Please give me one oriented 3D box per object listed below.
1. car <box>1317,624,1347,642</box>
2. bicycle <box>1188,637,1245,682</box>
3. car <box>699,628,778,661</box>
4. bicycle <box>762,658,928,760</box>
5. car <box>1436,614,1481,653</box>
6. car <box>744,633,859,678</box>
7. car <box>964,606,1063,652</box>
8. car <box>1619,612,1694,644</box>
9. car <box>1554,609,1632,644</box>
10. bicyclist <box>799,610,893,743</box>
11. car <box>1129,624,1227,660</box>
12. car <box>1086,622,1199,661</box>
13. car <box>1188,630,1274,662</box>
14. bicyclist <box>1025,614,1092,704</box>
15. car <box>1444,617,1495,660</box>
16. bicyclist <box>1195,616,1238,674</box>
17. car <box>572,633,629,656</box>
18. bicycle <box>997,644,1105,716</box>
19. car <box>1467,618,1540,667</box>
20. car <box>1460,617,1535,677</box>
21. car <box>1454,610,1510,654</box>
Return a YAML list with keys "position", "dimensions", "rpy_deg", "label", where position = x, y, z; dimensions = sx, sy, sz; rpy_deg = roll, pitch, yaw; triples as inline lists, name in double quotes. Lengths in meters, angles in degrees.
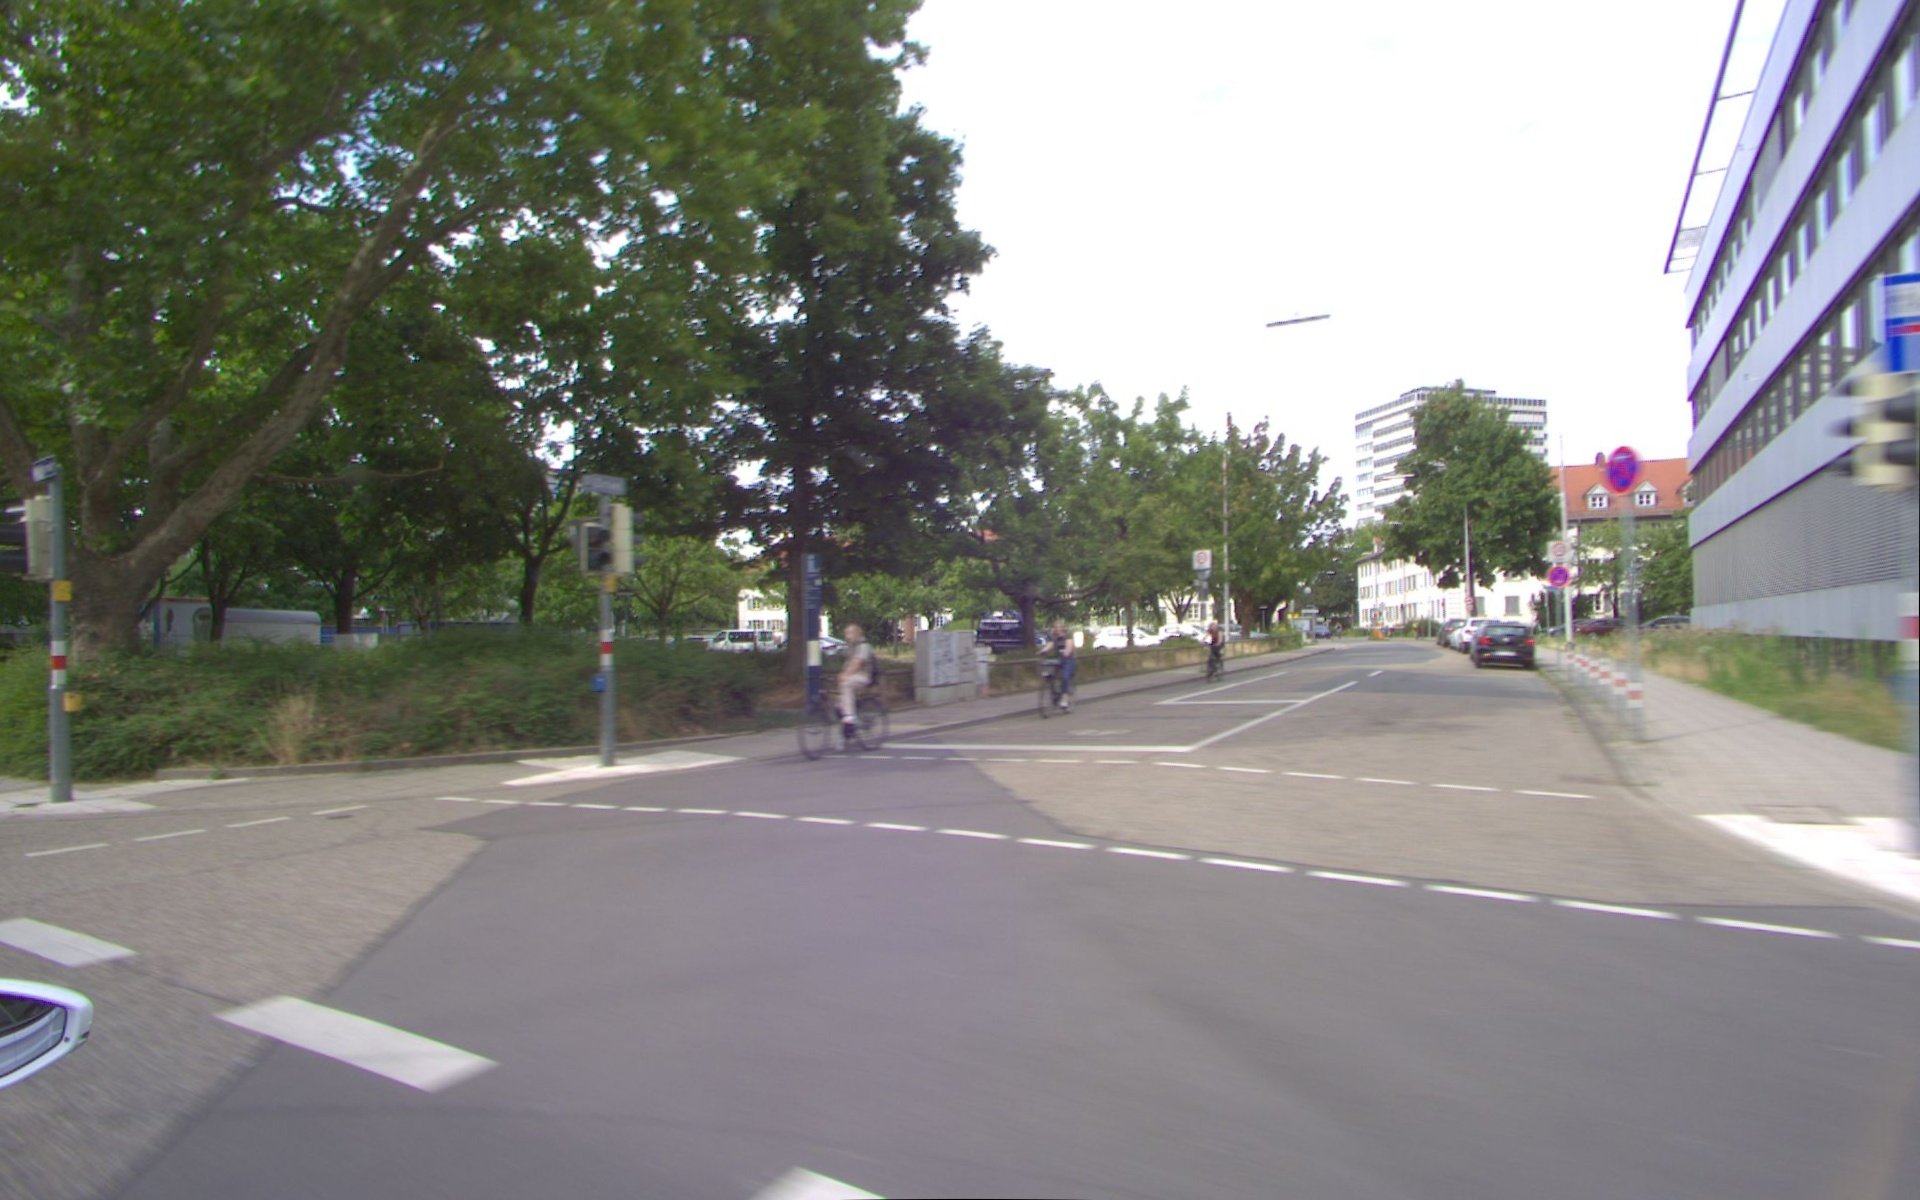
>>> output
- position: [31.616, 2.837, 85.103]
  dimensions: [1.687, 1.471, 4.002]
  rpy_deg: [0, -3, 10]
  label: "car"
- position: [7.349, 1.684, 28.585]
  dimensions: [0.903, 1.187, 2.240]
  rpy_deg: [-3, -3, 32]
  label: "bicycle"
- position: [-13.924, 2.828, 62.875]
  dimensions: [4.699, 2.038, 1.994]
  rpy_deg: [-1, -3, 27]
  label: "car"
- position: [-1.486, 1.404, 13.358]
  dimensions: [0.904, 1.187, 2.238]
  rpy_deg: [-3, -3, 36]
  label: "bicycle"
- position: [27.656, 1.925, 55.651]
  dimensions: [1.966, 2.038, 3.993]
  rpy_deg: [-1, -3, 23]
  label: "car"
- position: [-6.834, 2.387, 43.069]
  dimensions: [4.701, 1.816, 1.993]
  rpy_deg: [-2, -3, 29]
  label: "car"
- position: [3.194, 1.802, 60.155]
  dimensions: [5.414, 2.646, 2.434]
  rpy_deg: [-2, -3, 30]
  label: "car"
- position: [45.860, 1.870, 66.026]
  dimensions: [3.944, 2.038, 1.991]
  rpy_deg: [-2, -4, 33]
  label: "car"
- position: [39.041, 1.658, 61.854]
  dimensions: [3.944, 2.038, 1.991]
  rpy_deg: [-2, -4, 32]
  label: "car"
- position: [-1.520, 1.008, 13.354]
  dimensions: [0.904, 1.699, 0.826]
  rpy_deg: [-3, -3, 36]
  label: "bicyclist"
- position: [11.415, 2.247, 52.512]
  dimensions: [4.702, 1.816, 1.993]
  rpy_deg: [-2, -4, 30]
  label: "car"
- position: [8.266, 1.918, 45.521]
  dimensions: [4.707, 1.650, 1.990]
  rpy_deg: [-2, -4, 33]
  label: "car"
- position: [16.412, 2.810, 60.683]
  dimensions: [4.701, 1.816, 1.993]
  rpy_deg: [-2, -3, 29]
  label: "car"
- position: [1.814, 1.089, 18.445]
  dimensions: [0.904, 1.596, 0.826]
  rpy_deg: [-3, -3, 36]
  label: "bicyclist"
- position: [25.671, 1.987, 50.562]
  dimensions: [1.966, 2.038, 3.993]
  rpy_deg: [-1, -3, 23]
  label: "car"
- position: [7.313, 1.284, 28.540]
  dimensions: [0.903, 1.596, 0.827]
  rpy_deg: [-3, -2, 33]
  label: "bicyclist"
- position: [-26.318, 3.297, 73.353]
  dimensions: [3.732, 1.600, 1.993]
  rpy_deg: [-2, -4, 29]
  label: "car"
- position: [1.687, 1.432, 18.249]
  dimensions: [0.904, 1.187, 2.238]
  rpy_deg: [-3, -3, 36]
  label: "bicycle"
- position: [17.264, 1.398, 31.960]
  dimensions: [1.648, 1.461, 3.645]
  rpy_deg: [-1, -4, 23]
  label: "car"
- position: [19.498, 1.738, 36.460]
  dimensions: [1.966, 2.038, 3.993]
  rpy_deg: [-1, -3, 23]
  label: "car"
- position: [23.755, 1.519, 45.676]
  dimensions: [1.921, 1.884, 3.872]
  rpy_deg: [-1, -3, 23]
  label: "car"
